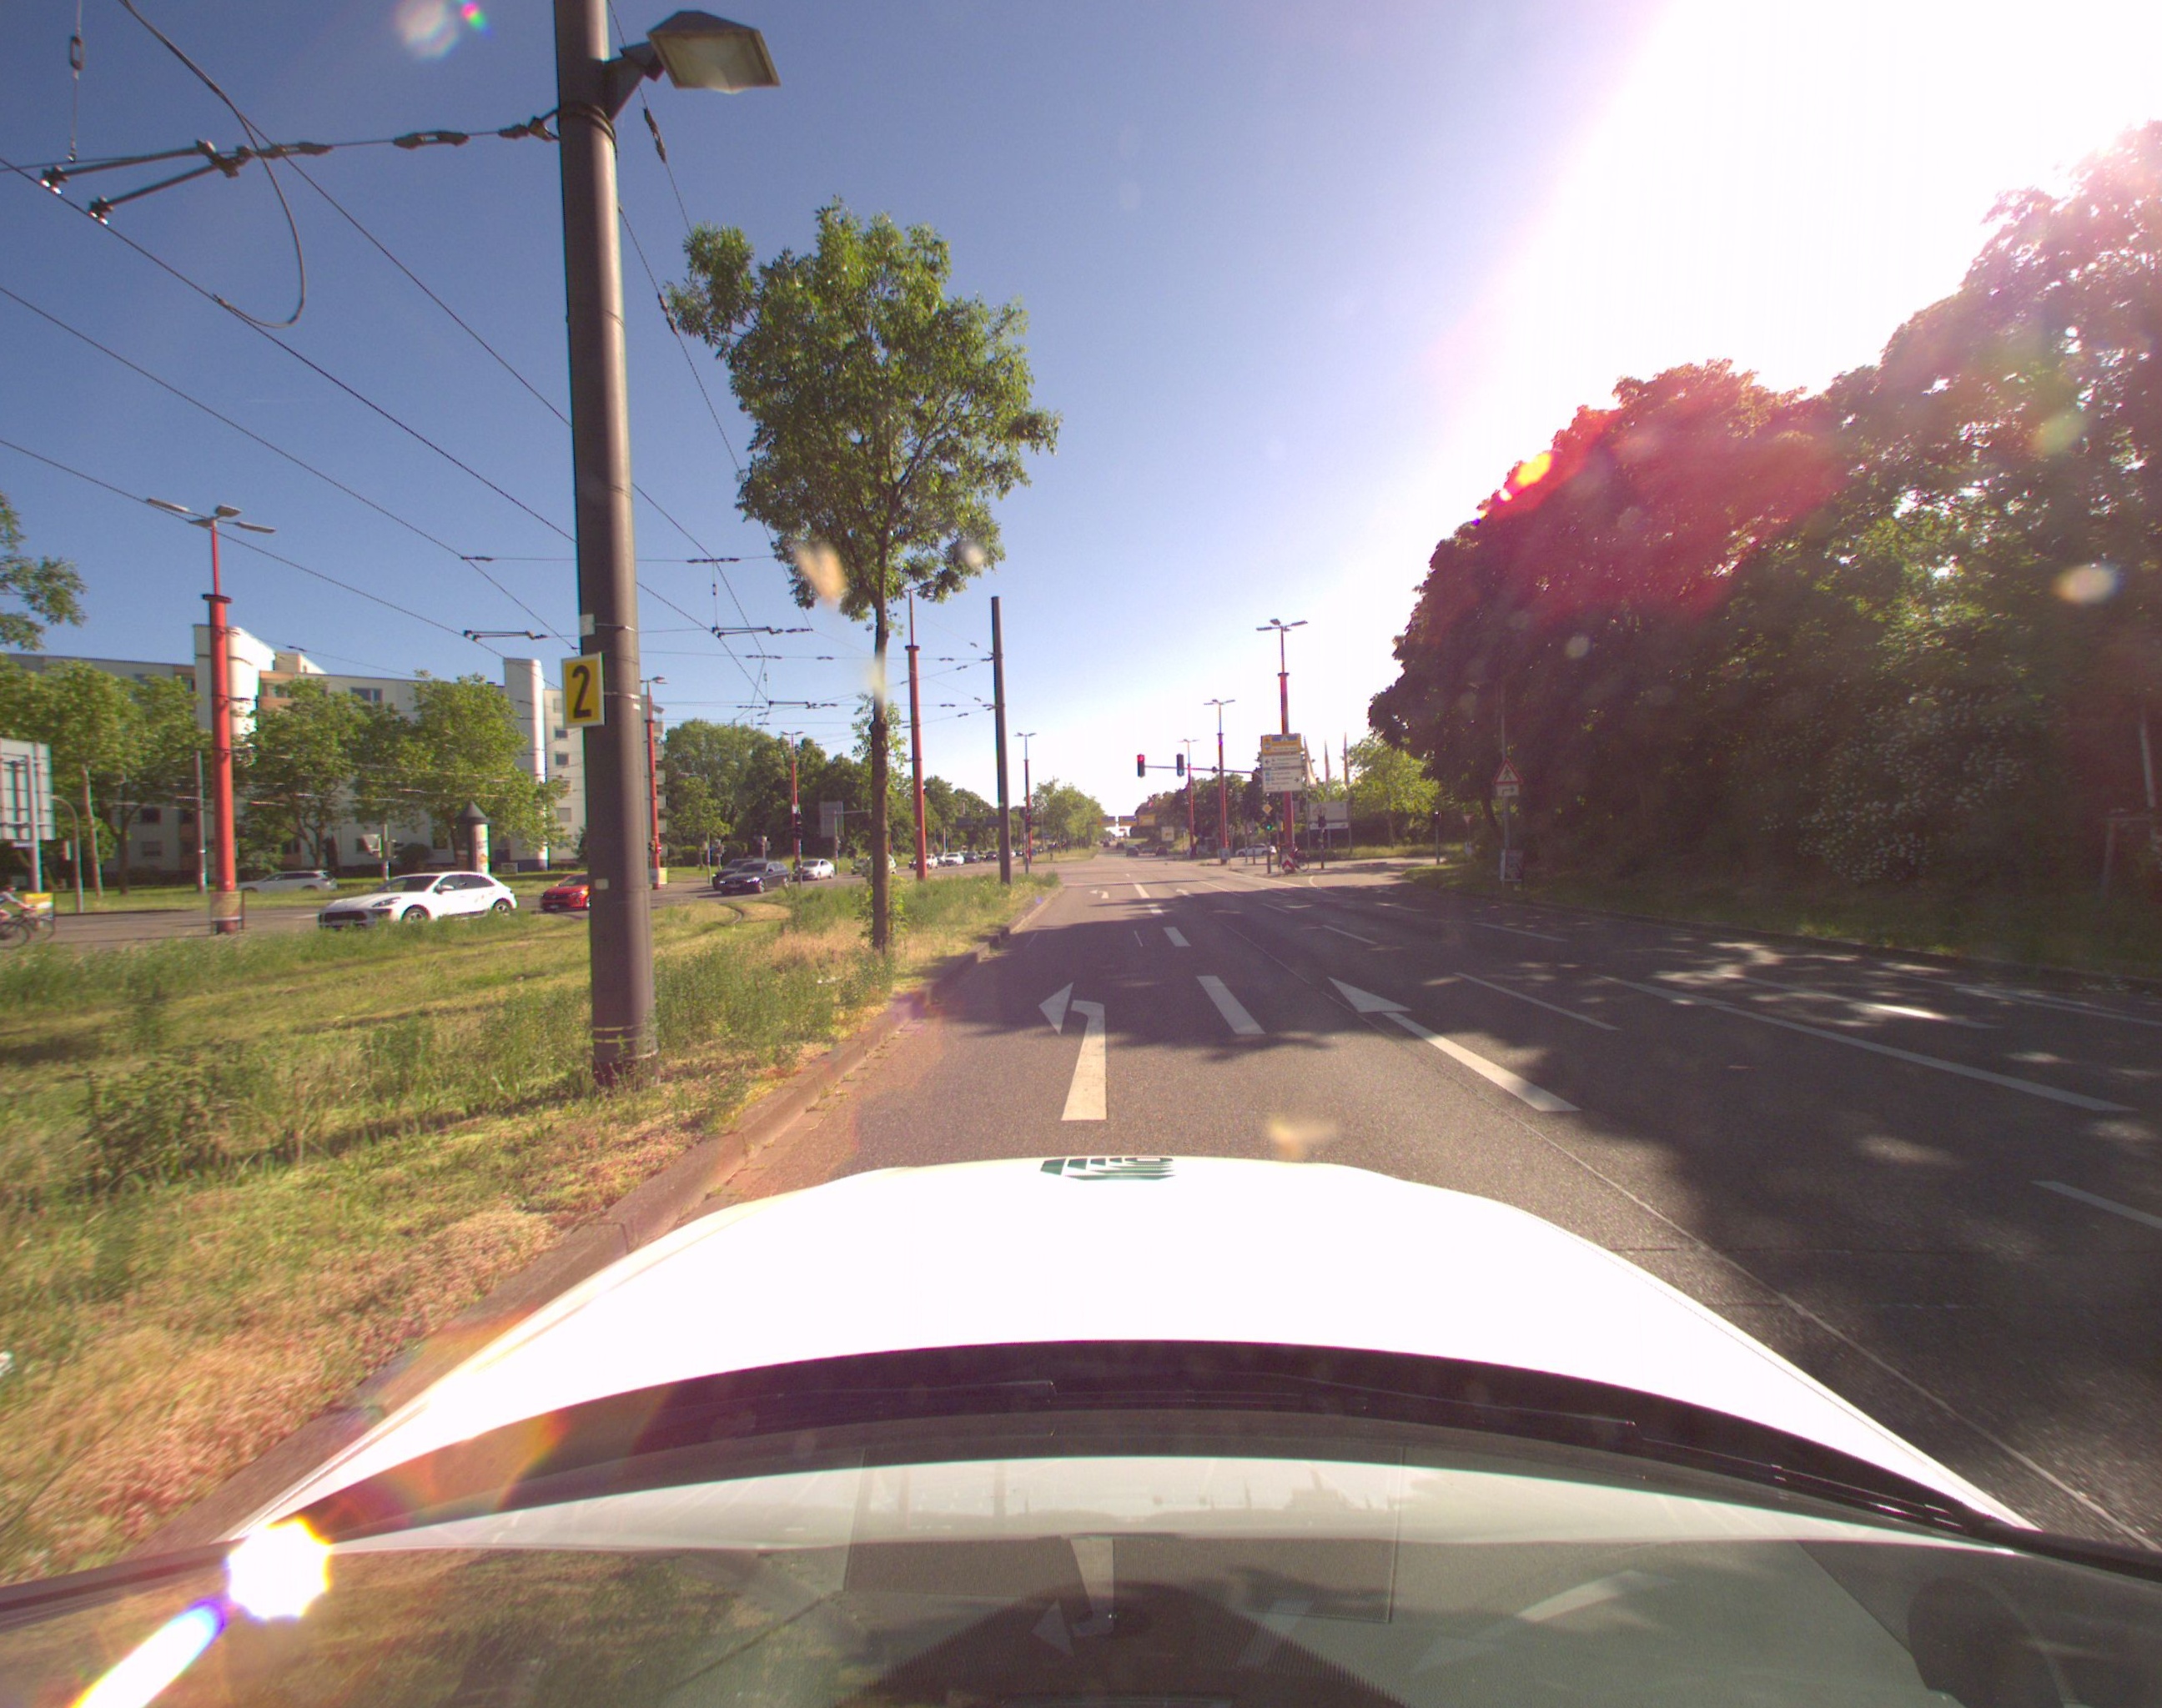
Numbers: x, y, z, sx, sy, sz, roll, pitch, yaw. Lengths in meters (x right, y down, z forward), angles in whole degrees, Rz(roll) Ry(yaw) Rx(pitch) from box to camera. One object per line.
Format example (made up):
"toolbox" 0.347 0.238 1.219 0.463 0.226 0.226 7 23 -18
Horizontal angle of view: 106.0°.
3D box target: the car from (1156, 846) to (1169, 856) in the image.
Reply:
"car" 12.478 -0.445 124.514 1.731 1.341 3.083 -2 0 2

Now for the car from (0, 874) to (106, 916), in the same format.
"car" -62.627 2.418 49.383 1.875 2.310 4.016 -1 0 15

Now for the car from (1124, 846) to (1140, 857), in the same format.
"car" 7.675 -0.349 123.309 1.988 1.496 3.997 -2 0 -2

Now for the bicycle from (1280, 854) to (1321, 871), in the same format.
"bicycle" 12.114 0.455 44.878 2.162 0.878 0.558 -1 0 -10

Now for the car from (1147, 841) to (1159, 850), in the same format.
"car" 13.475 -1.530 151.765 1.986 1.540 4.002 -1 0 2

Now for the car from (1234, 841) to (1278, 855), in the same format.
"car" 19.139 -0.633 89.197 4.338 1.371 2.073 -2 0 23

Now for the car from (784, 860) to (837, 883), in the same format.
"car" -18.978 1.212 57.367 1.986 1.432 4.695 -3 0 1

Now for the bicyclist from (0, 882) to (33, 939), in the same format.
"bicyclist" -27.764 1.445 21.014 0.761 1.430 0.743 -1 0 -43

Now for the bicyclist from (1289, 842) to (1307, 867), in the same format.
"bicyclist" 11.959 0.015 44.887 0.739 1.341 0.706 -1 0 -8

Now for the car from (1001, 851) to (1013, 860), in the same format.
"car" -12.268 0.225 135.265 1.542 1.377 4.263 -2 0 1

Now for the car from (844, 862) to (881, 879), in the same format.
"car" -18.815 1.388 70.414 1.987 1.374 4.399 -1 0 0

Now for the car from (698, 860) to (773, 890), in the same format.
"car" -19.067 1.131 45.230 1.985 1.481 4.634 -1 0 3

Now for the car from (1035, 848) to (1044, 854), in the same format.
"car" -10.246 -0.688 201.040 1.998 1.308 3.998 -2 0 -1

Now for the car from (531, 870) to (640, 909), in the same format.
"car" -19.437 1.358 32.171 1.651 1.297 4.178 -1 0 1

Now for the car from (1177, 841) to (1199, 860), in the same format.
"car" 11.244 -0.356 85.241 1.981 1.887 4.012 -2 0 10

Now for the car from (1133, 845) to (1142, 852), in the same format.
"car" 14.030 -1.307 202.119 1.986 1.540 4.002 -1 0 2

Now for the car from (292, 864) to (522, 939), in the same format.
"car" -17.059 1.129 20.996 1.887 1.621 4.660 -1 0 3

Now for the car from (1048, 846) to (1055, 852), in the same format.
"car" -8.673 -1.531 241.669 1.619 1.739 4.003 -2 0 2

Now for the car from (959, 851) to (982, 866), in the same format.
"car" -13.625 0.538 100.642 1.985 1.594 4.468 -3 0 3

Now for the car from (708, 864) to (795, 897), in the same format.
"car" -15.973 1.243 39.794 1.985 1.409 4.994 -1 0 3

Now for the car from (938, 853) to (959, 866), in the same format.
"car" -16.245 0.660 100.148 1.870 1.576 4.000 -1 0 0

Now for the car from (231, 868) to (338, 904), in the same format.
"car" -50.236 1.992 51.493 4.423 2.013 1.980 -2 0 -32

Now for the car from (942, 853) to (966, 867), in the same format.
"car" -14.070 0.662 90.272 1.697 1.423 4.644 -3 0 1

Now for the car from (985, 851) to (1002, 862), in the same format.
"car" -12.594 0.348 117.003 1.870 1.485 4.605 -1 0 0

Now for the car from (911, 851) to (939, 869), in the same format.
"car" -14.748 0.537 77.102 1.582 1.472 4.186 -3 1 3

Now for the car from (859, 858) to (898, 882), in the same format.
"car" -15.062 1.169 60.829 1.756 1.608 3.760 -2 0 2

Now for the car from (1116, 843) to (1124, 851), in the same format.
"car" 10.639 -1.844 221.829 2.146 2.013 4.002 -2 0 2

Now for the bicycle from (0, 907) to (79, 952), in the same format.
"bicycle" -27.771 1.974 21.009 2.374 1.081 0.468 -1 0 -44

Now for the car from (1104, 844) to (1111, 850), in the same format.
"car" 7.951 -2.097 243.885 1.987 2.013 4.000 -1 0 1
